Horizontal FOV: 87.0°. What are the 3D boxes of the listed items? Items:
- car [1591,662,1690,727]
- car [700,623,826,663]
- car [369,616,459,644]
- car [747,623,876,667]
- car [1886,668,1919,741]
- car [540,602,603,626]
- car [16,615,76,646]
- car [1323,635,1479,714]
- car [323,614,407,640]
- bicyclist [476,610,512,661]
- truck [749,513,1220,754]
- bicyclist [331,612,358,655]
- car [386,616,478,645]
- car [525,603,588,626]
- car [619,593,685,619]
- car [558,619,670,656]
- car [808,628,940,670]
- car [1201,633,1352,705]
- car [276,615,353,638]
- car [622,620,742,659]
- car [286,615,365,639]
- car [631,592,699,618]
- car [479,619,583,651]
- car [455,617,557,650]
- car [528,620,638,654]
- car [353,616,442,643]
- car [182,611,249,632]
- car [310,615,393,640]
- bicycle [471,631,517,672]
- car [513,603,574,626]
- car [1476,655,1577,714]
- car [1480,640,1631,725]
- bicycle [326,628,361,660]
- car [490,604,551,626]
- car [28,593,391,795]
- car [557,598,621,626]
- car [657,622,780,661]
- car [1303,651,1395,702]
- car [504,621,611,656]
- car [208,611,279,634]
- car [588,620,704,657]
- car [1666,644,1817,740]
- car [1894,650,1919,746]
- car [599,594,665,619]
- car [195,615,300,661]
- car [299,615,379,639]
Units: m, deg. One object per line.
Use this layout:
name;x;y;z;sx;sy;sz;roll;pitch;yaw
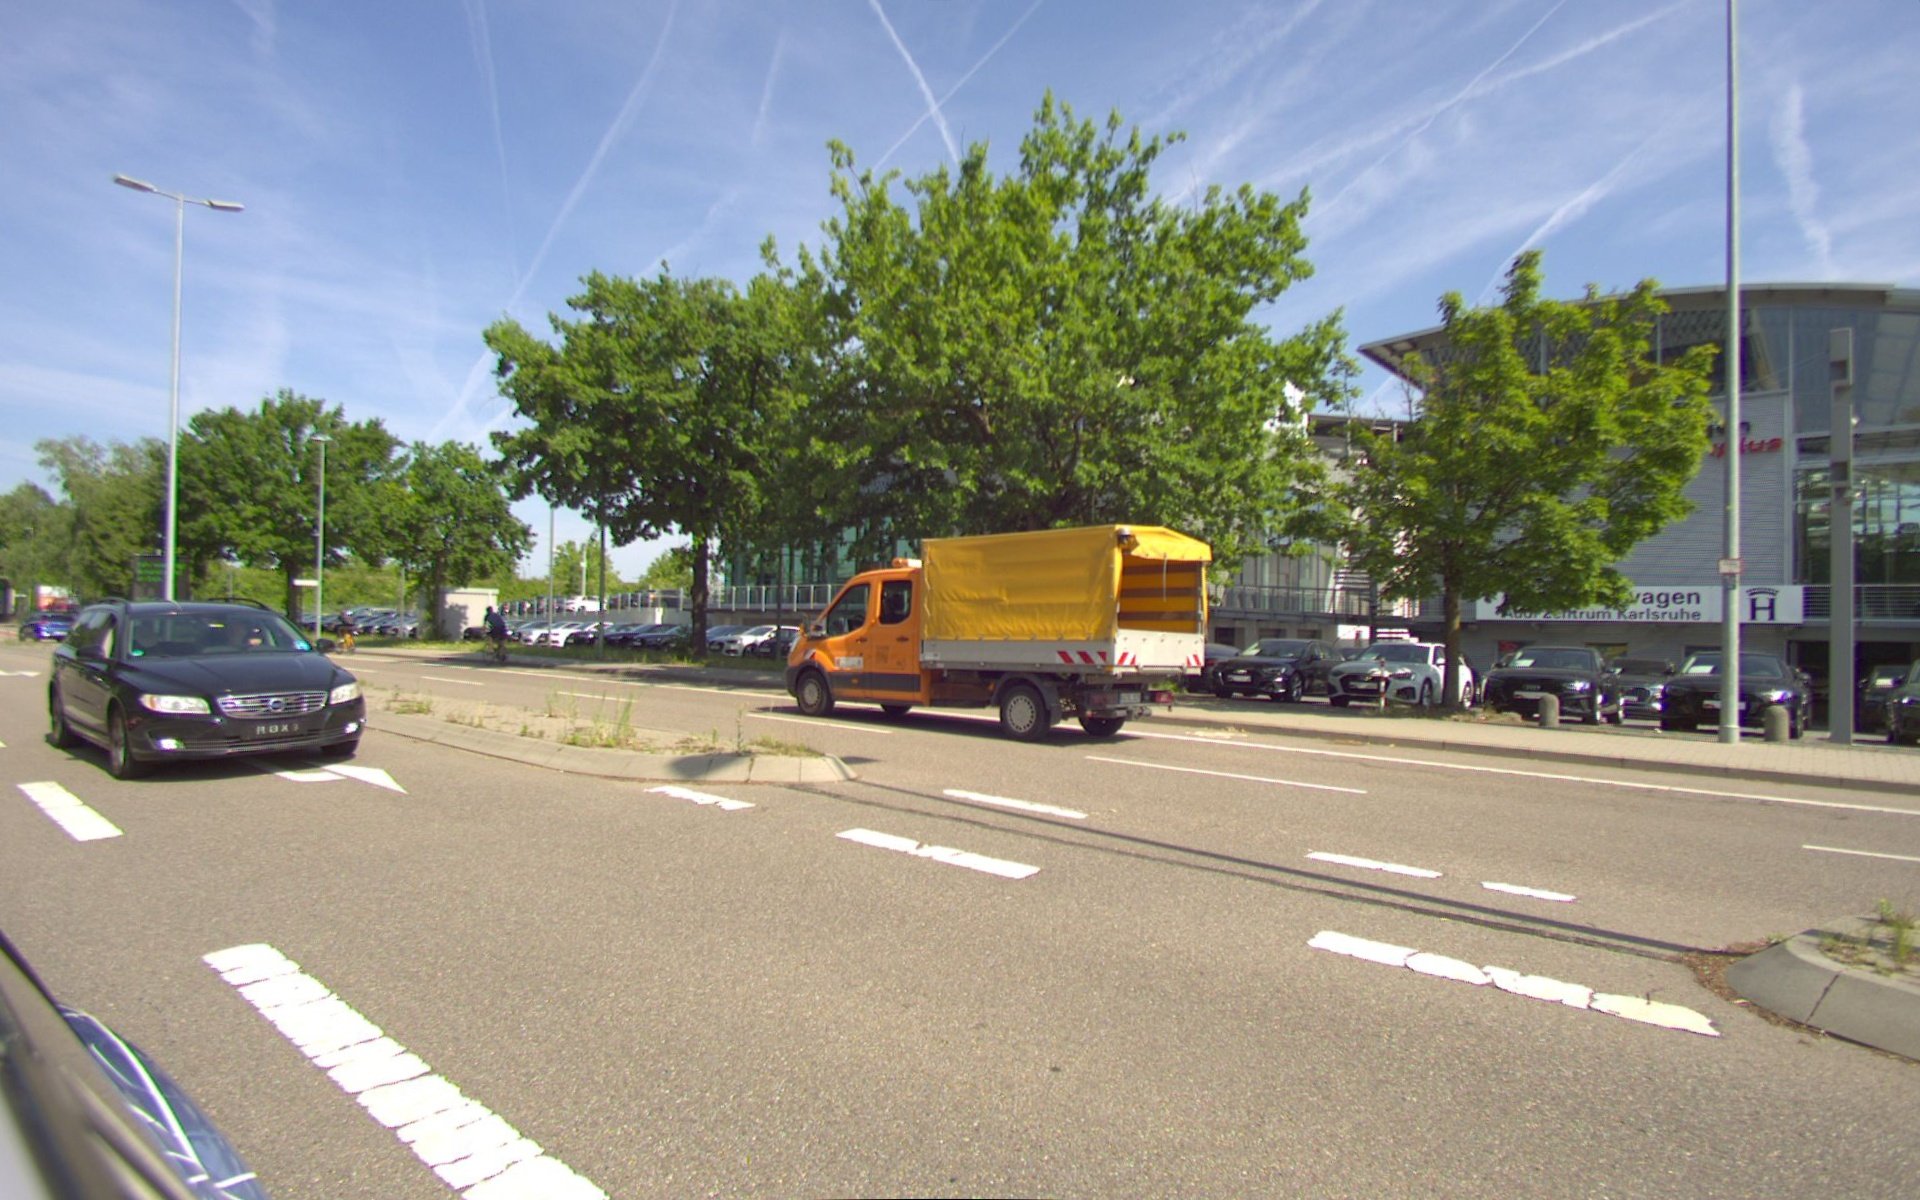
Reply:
car;18.123;2.439;26.903;1.690;1.484;3.776;-1;-2;42
car;-6.892;1.537;35.713;1.690;1.204;4.141;-1;-5;42
car;-31.075;1.724;57.659;1.690;1.333;4.141;-1;-5;42
car;-4.950;1.534;34.144;1.690;1.256;4.141;-1;-5;42
car;22.165;2.353;22.952;1.522;1.484;3.472;-1;-2;40
car;-29.742;1.087;77.542;1.690;1.510;4.141;-1;-5;42
car;-46.348;1.549;51.323;3.867;1.449;1.710;-1;-4;41
car;9.052;1.531;20.591;1.801;1.405;4.172;-1;-5;40
car;-36.851;1.694;62.729;1.690;1.333;4.141;-1;-5;42
bicyclist;-13.916;1.055;30.224;1.144;1.494;0.564;-1;-2;44
truck;0.049;0.465;14.241;6.670;2.645;2.350;-1;-4;42
bicyclist;-23.457;1.289;38.558;0.910;1.608;0.570;-1;-3;40
car;-29.168;1.688;55.975;1.690;1.333;4.141;-1;-5;42
car;-31.505;1.117;79.070;1.690;1.510;4.141;-1;-5;42
car;-21.541;0.426;70.879;1.690;1.510;4.141;-1;-5;42
car;-14.522;1.590;42.651;1.690;1.309;4.141;-1;-5;42
car;-2.681;1.574;32.399;1.719;1.131;4.141;-1;-5;42
car;7.079;1.567;22.402;1.808;1.412;3.983;-1;-5;40
car;-44.675;1.834;70.142;1.690;1.333;4.141;-1;-5;42
car;-10.648;1.538;38.980;1.690;1.264;4.141;-1;-5;42
car;-42.750;1.834;68.261;1.690;1.333;4.141;-1;-5;42
car;-19.992;0.375;68.652;1.690;1.416;4.141;-1;-5;42
car;-20.217;1.675;47.821;1.690;1.256;4.141;-1;-5;42
car;-22.106;1.651;49.410;1.690;1.333;4.141;-1;-5;42
car;-16.510;1.653;44.459;1.690;1.265;4.141;-1;-5;42
car;-32.782;1.732;59.069;1.690;1.333;4.141;-1;-5;42
car;-61.202;1.776;83.207;1.690;1.389;4.141;-1;-5;42
car;-38.704;1.778;64.455;1.690;1.333;4.141;-1;-5;42
bicycle;-13.896;1.512;30.181;1.925;1.159;0.565;-1;-2;44
car;-33.174;1.177;80.639;1.690;1.510;4.141;-1;-5;42
car;16.110;2.335;28.717;1.803;1.484;3.778;-1;-2;41
car;11.159;1.535;18.831;1.833;1.365;4.069;0;-5;39
bicycle;-23.536;1.668;38.609;1.768;1.159;0.565;-1;-3;40
car;-35.968;1.227;82.863;1.690;1.510;4.141;-1;-5;42
car;-7.554;0.735;9.976;4.866;1.533;1.858;-1;0;41
car;-27.742;0.919;75.796;1.690;1.745;4.141;-1;-5;42
car;-8.812;1.544;37.243;1.690;1.215;4.141;-1;-5;42
car;12.391;2.373;32.102;1.688;1.448;3.780;-1;-2;39
car;-18.271;1.766;46.097;1.690;1.335;4.141;-1;-5;42
car;-55.303;1.750;78.131;1.690;1.510;4.141;-1;-5;42
car;-12.622;1.581;40.818;1.690;1.269;4.141;-1;-5;42
car;13.229;1.545;17.091;1.828;1.365;4.237;0;-5;39
car;15.358;1.523;15.134;1.853;1.345;4.132;-1;-5;40
car;-23.533;0.479;72.751;1.690;1.510;4.141;-1;-5;42
car;-25.410;1.344;36.033;4.660;1.471;1.828;-1;-4;40
car;-40.834;1.796;66.602;1.690;1.333;4.141;-1;-5;42
